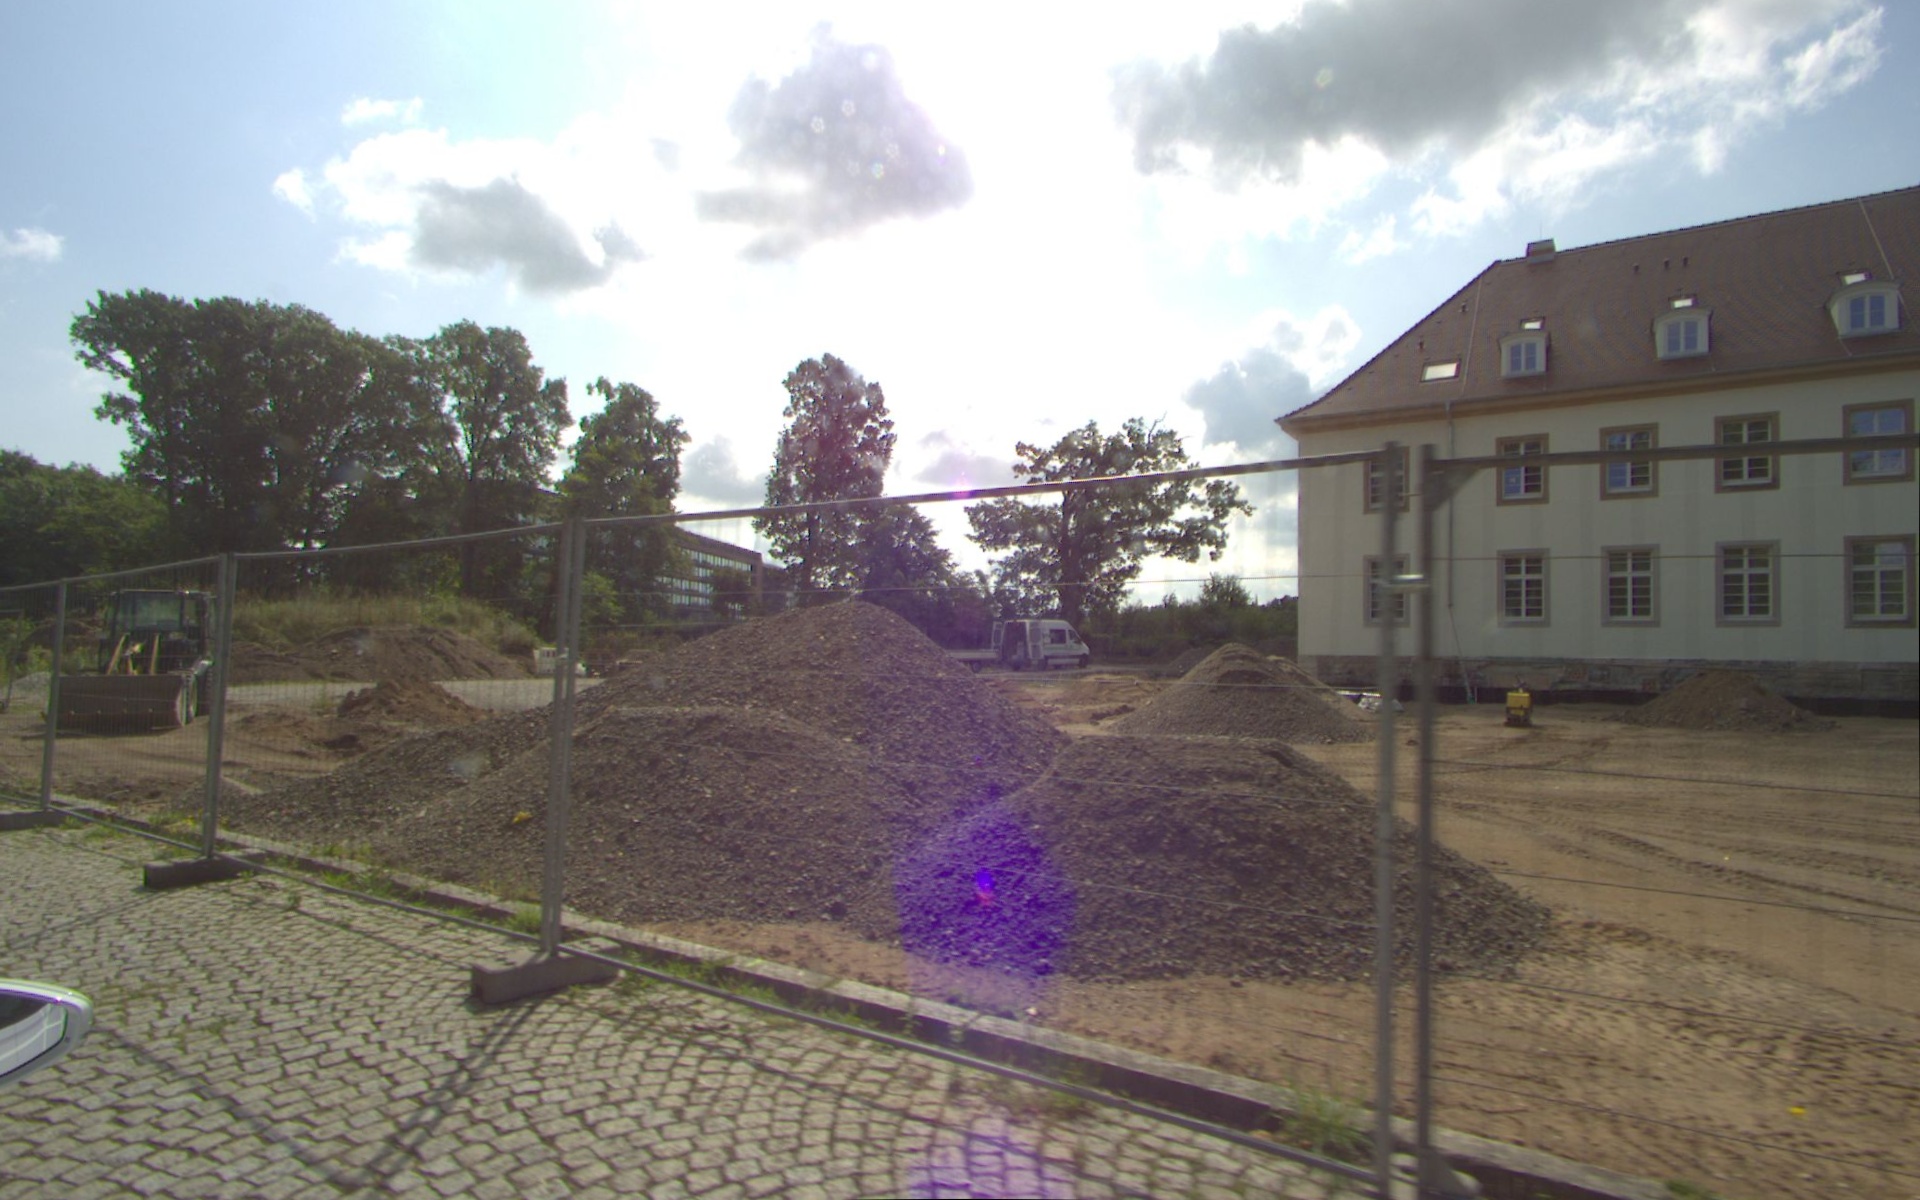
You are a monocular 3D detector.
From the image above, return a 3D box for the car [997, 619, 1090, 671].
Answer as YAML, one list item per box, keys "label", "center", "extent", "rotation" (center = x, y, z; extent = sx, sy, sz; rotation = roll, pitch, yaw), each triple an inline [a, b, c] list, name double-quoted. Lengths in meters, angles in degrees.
- label: "car"
  center: [4.479, 2.382, 53.220]
  extent: [2.221, 2.624, 5.396]
  rotation: [-1, -2, 41]

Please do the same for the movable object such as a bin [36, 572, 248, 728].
- label: "movable object such as a bin"
  center: [-15.520, 0.868, 19.385]
  extent: [2.118, 2.554, 5.629]
  rotation: [1, -1, -28]

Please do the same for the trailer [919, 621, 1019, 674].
- label: "trailer"
  center: [0.487, 2.317, 49.699]
  extent: [4.784, 2.504, 1.948]
  rotation: [1, -2, -35]
